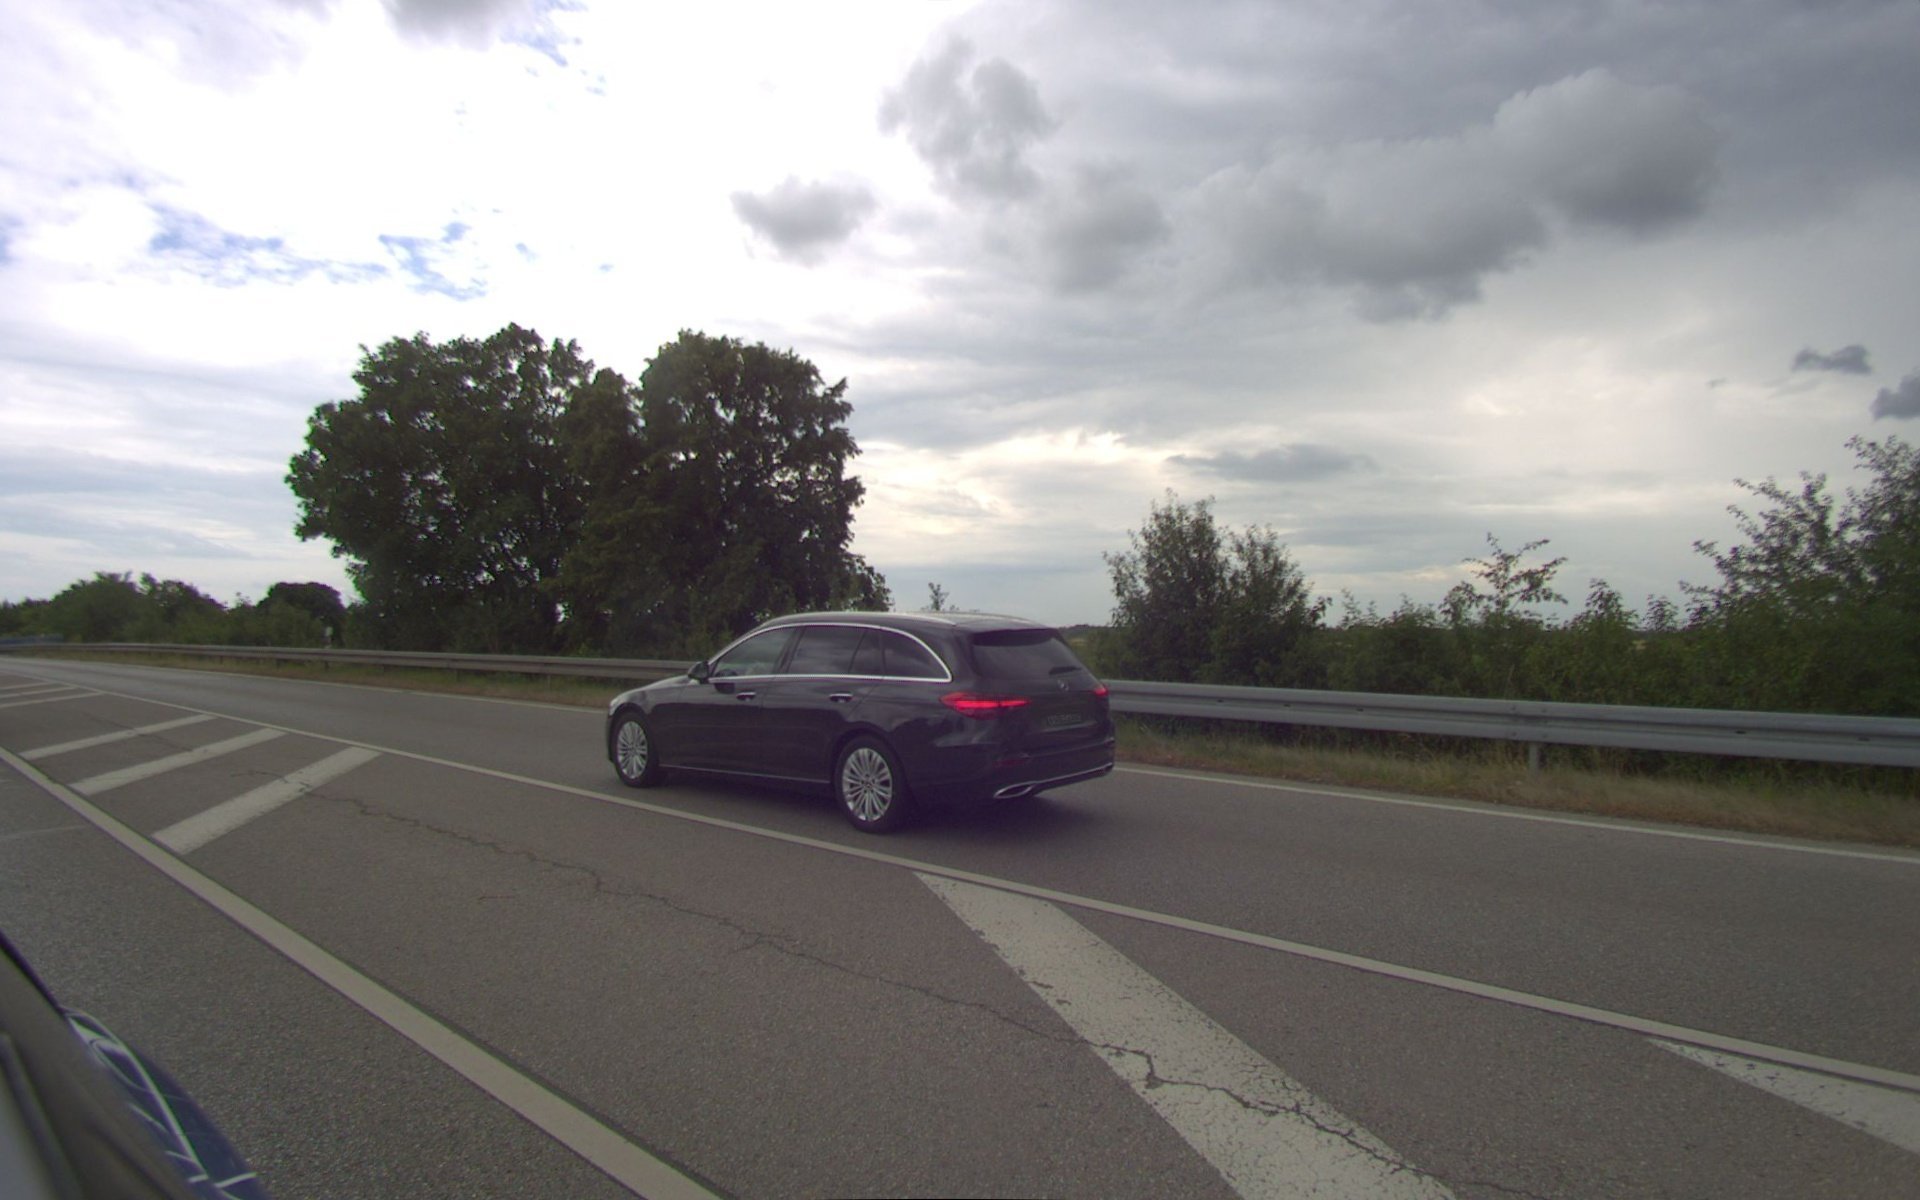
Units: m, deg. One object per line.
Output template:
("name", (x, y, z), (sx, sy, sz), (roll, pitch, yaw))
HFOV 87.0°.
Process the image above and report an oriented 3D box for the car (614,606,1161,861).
("car", (-0.763, 0.800, 7.753), (4.255, 1.440, 1.654), (-1, -1, 40))
